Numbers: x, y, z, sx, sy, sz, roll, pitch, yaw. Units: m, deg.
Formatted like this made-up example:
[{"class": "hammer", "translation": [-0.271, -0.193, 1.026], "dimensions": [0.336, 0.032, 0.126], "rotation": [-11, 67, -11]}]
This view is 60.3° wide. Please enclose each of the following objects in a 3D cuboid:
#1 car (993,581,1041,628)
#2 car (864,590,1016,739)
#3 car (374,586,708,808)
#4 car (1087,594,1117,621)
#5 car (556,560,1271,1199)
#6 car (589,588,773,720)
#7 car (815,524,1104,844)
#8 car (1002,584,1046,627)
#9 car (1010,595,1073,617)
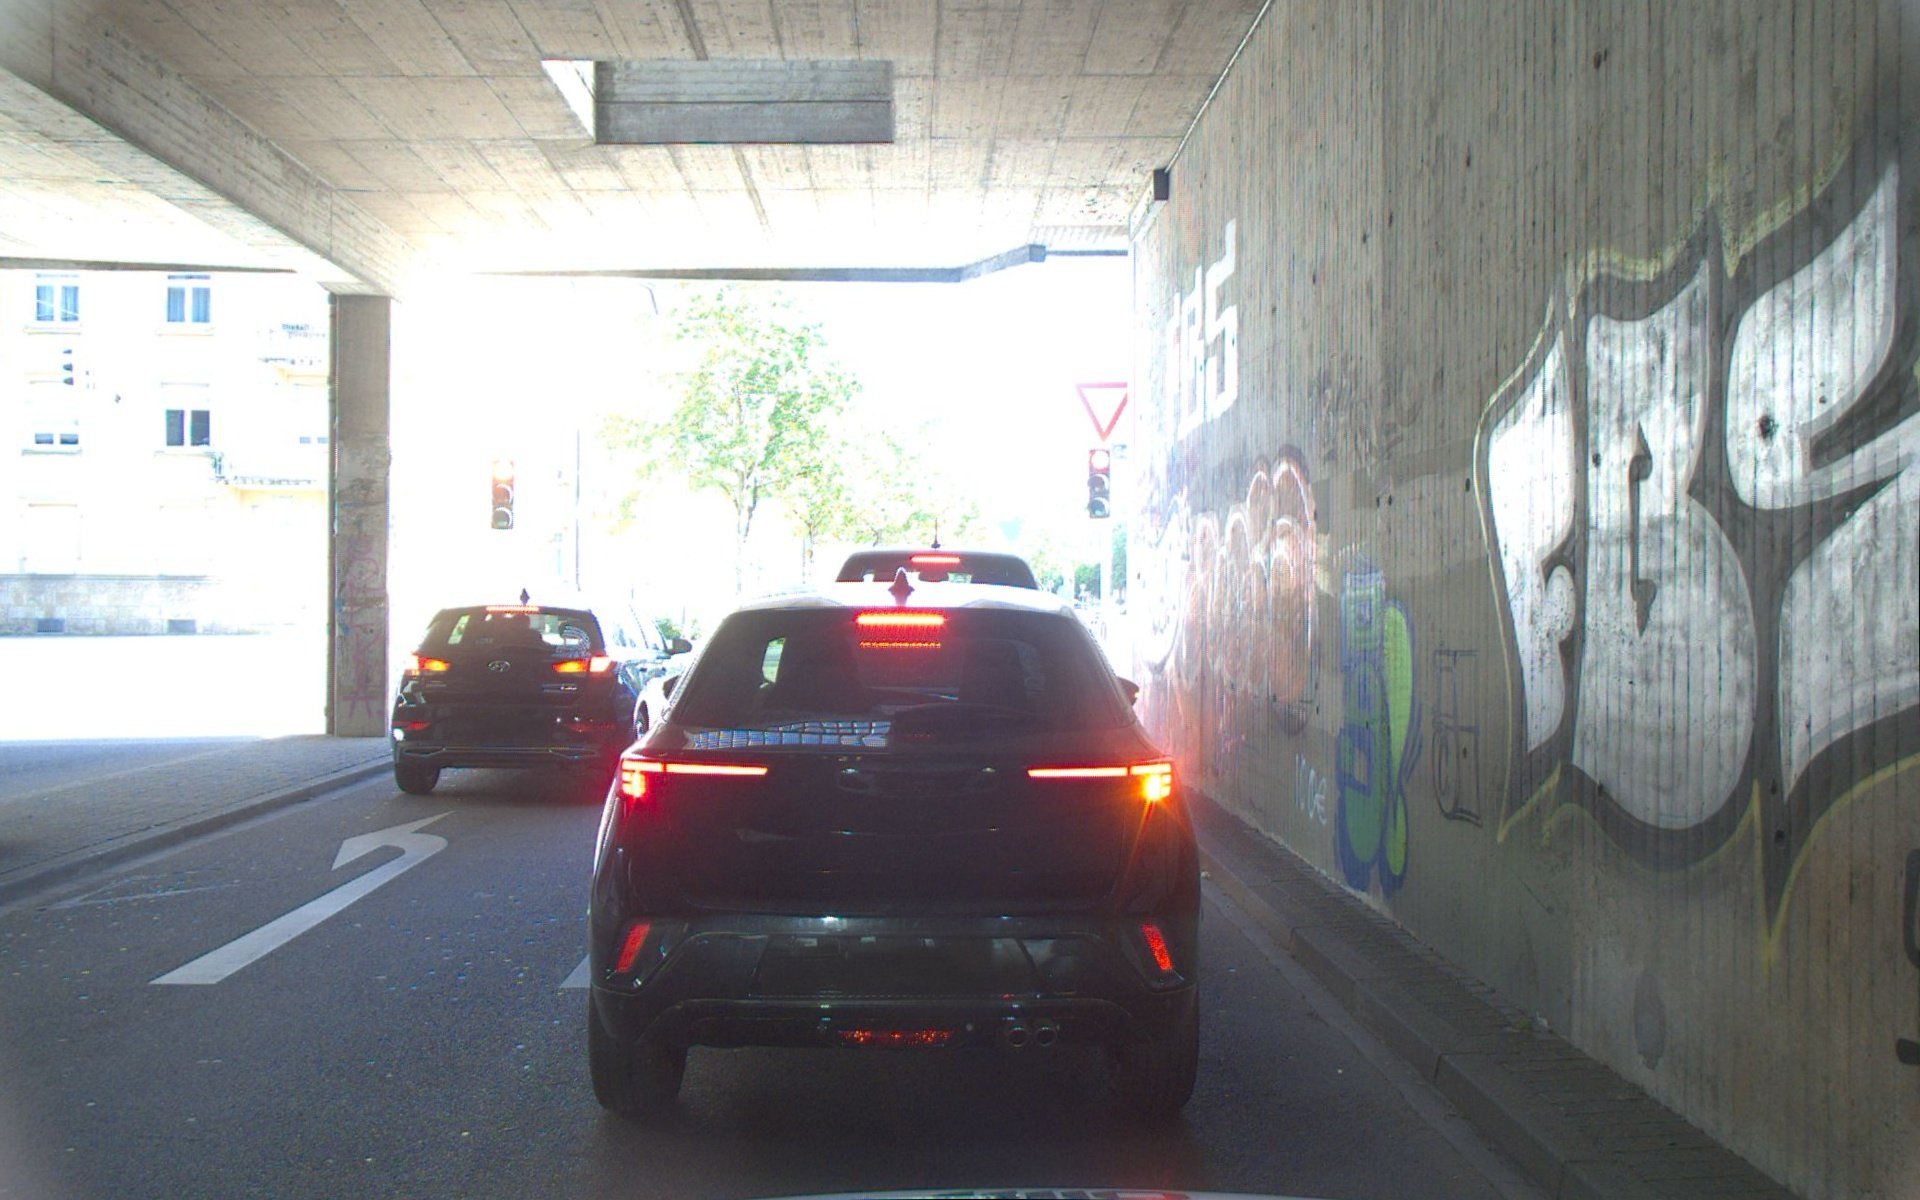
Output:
[{"class": "car", "translation": [2.179, 0.182, 62.199], "dimensions": [1.717, 1.696, 3.946], "rotation": [1, 0, 3]}, {"class": "car", "translation": [-0.237, 0.667, 19.219], "dimensions": [1.576, 1.539, 4.053], "rotation": [0, 0, -1]}, {"class": "car", "translation": [-3.148, 0.655, 13.203], "dimensions": [1.726, 1.506, 3.843], "rotation": [0, 0, -1]}, {"class": "car", "translation": [9.314, 0.504, 108.560], "dimensions": [1.716, 1.696, 3.947], "rotation": [1, 0, 8]}, {"class": "car", "translation": [-0.137, 0.682, 6.060], "dimensions": [1.726, 1.558, 4.088], "rotation": [0, 0, -1]}, {"class": "car", "translation": [-3.419, 0.616, 20.923], "dimensions": [1.726, 1.506, 3.843], "rotation": [0, 0, -1]}, {"class": "car", "translation": [-0.031, 0.501, 12.005], "dimensions": [1.726, 1.915, 4.145], "rotation": [0, 0, -1]}, {"class": "car", "translation": [2.669, 0.216, 68.325], "dimensions": [1.717, 1.696, 3.946], "rotation": [1, 0, 3]}, {"class": "car", "translation": [6.591, 0.517, 133.841], "dimensions": [4.732, 1.696, 1.812], "rotation": [1, 0, -22]}]
